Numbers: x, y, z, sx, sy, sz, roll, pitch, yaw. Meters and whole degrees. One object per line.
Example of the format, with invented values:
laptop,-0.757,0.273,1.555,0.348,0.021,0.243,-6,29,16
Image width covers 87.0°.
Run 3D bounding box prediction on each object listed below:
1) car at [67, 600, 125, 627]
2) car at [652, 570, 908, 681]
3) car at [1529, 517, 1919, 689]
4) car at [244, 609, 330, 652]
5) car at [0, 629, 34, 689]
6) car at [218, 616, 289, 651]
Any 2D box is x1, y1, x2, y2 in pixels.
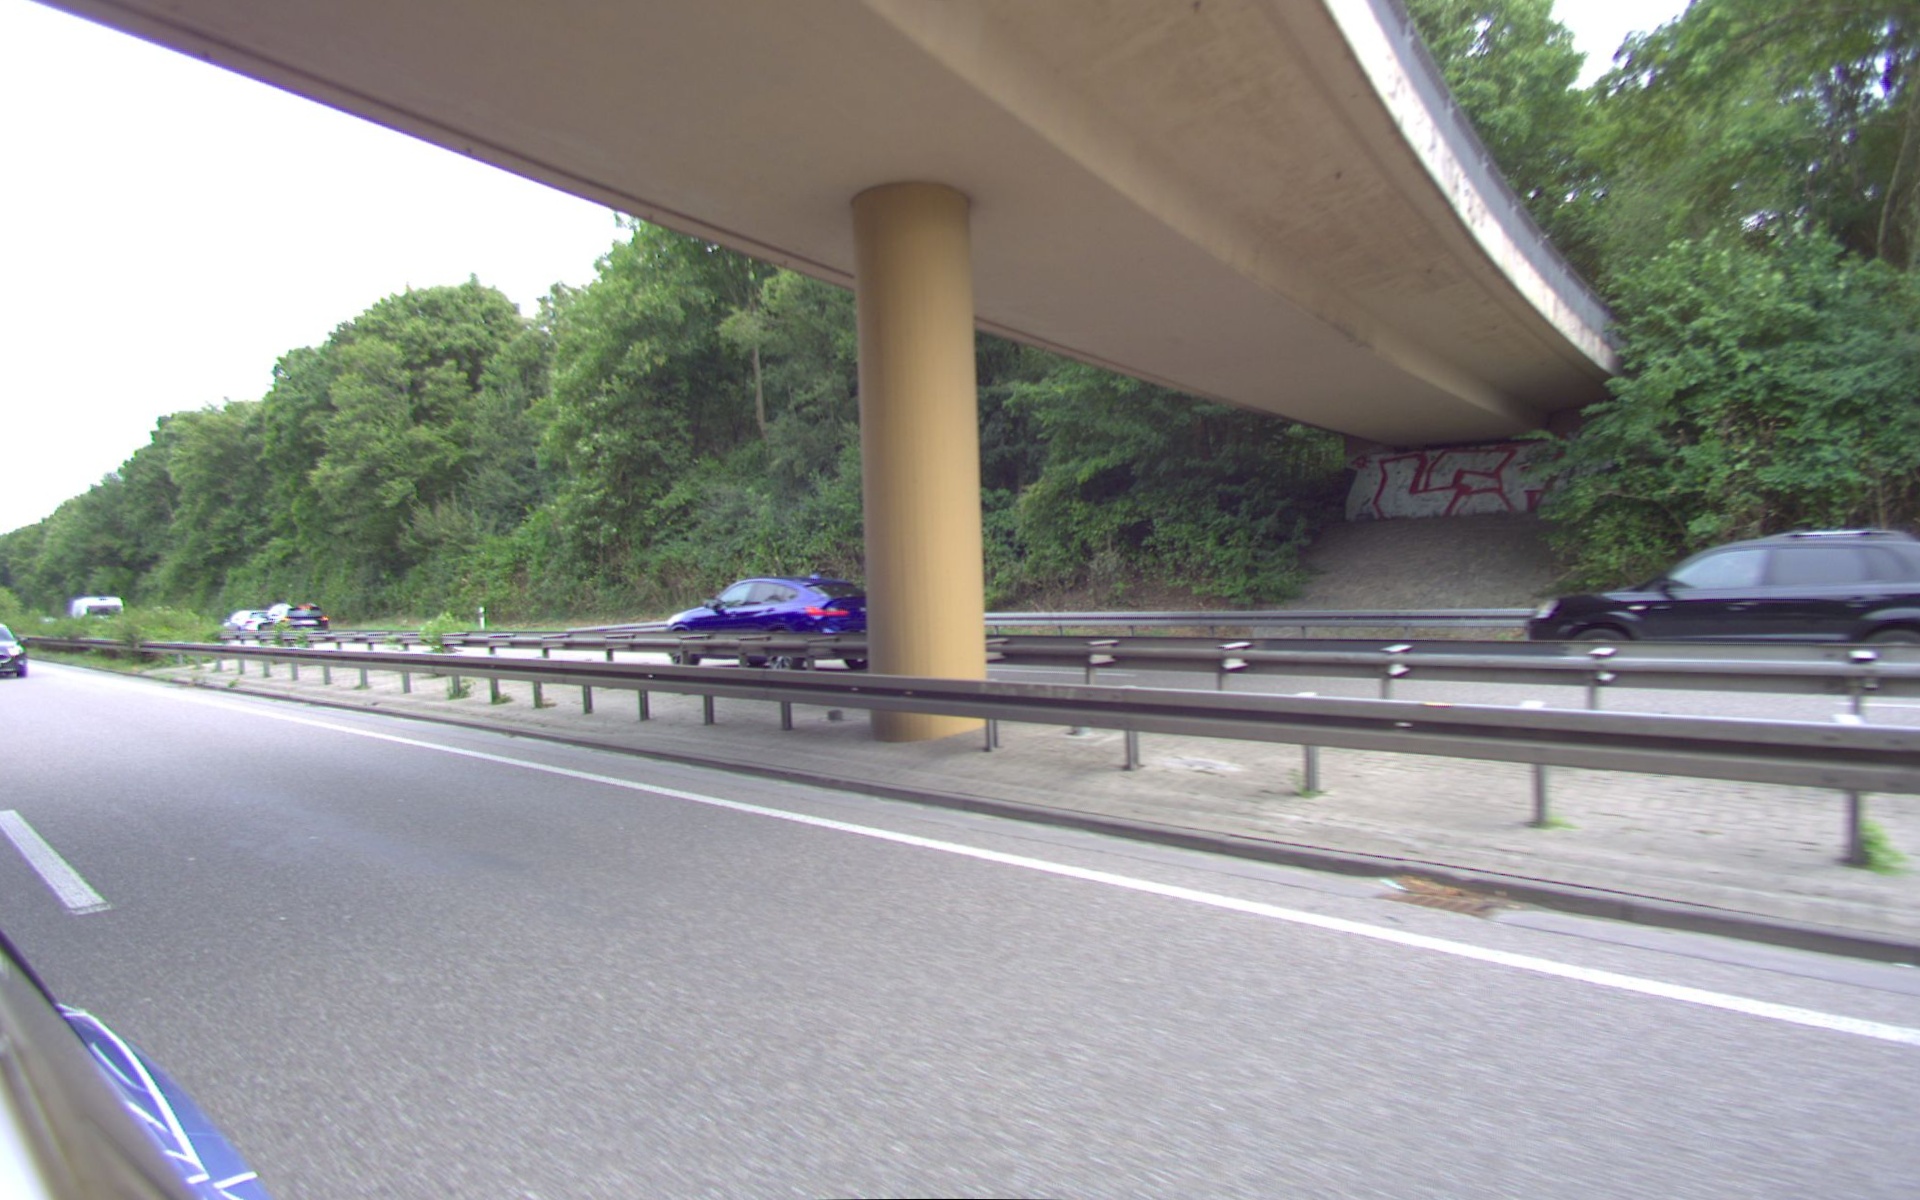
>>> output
car,-54.960,0.857,64.343,4.637,1.664,2.164,-1,0,41
car,-3.216,0.406,17.494,4.637,1.664,1.874,-1,0,41
car,9.254,0.033,11.438,4.637,1.699,1.874,-1,0,41
car,-28.520,1.258,42.847,4.637,1.664,1.874,-1,0,41
car,-26.451,1.559,27.203,4.637,1.469,1.807,-1,0,41
car,-35.939,1.656,51.434,4.637,1.664,1.874,-1,0,41
